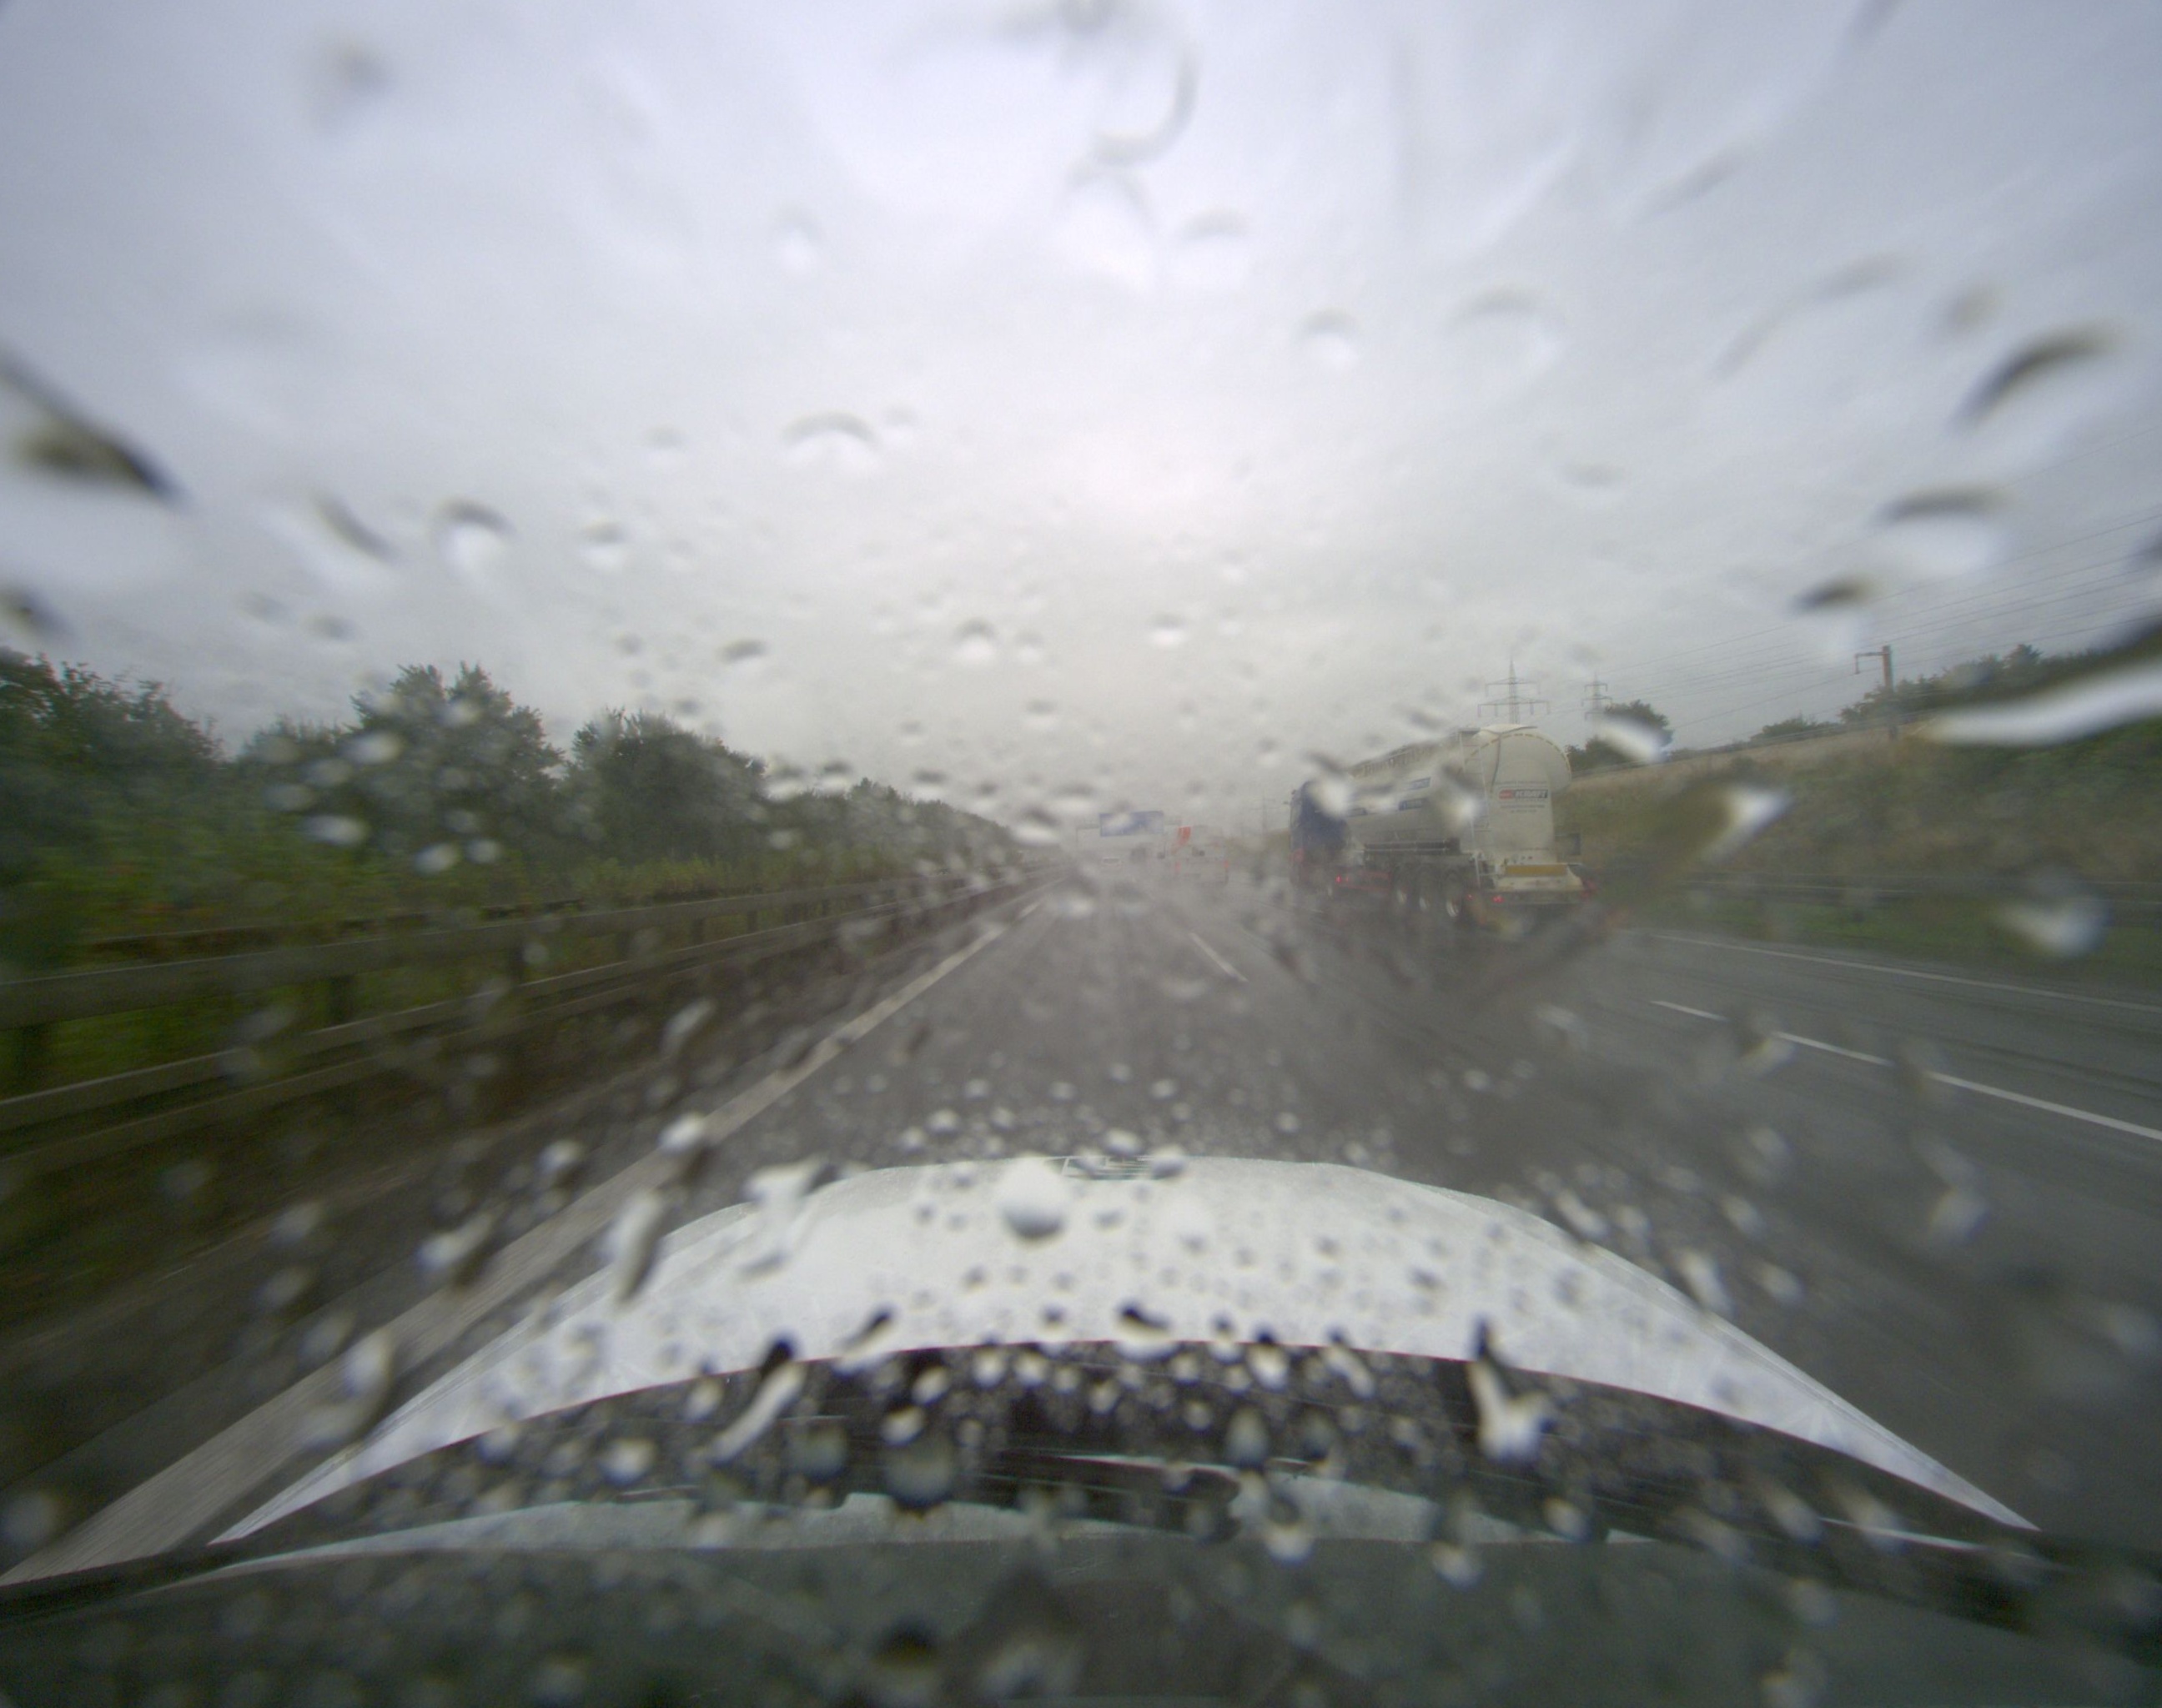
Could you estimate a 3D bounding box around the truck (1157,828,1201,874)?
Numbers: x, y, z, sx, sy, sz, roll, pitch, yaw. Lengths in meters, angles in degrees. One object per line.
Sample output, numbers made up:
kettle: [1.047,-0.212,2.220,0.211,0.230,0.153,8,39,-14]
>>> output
truck: [10.510,-0.245,89.174,3.029,4.588,16.352,-1,-1,1]

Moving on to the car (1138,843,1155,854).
car: [11.937,-1.020,148.747,2.778,2.013,4.995,-1,0,1]

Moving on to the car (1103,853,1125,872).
car: [2.490,0.647,61.982,1.599,1.338,3.850,-1,0,1]

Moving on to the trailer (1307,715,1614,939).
trailer: [8.186,-0.510,19.804,2.488,3.882,11.069,-1,0,1]

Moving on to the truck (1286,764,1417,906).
truck: [8.299,-0.550,25.639,2.488,3.983,5.077,-1,0,1]

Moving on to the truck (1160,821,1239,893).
truck: [4.437,0.081,31.403,2.410,2.492,5.563,-1,0,2]
